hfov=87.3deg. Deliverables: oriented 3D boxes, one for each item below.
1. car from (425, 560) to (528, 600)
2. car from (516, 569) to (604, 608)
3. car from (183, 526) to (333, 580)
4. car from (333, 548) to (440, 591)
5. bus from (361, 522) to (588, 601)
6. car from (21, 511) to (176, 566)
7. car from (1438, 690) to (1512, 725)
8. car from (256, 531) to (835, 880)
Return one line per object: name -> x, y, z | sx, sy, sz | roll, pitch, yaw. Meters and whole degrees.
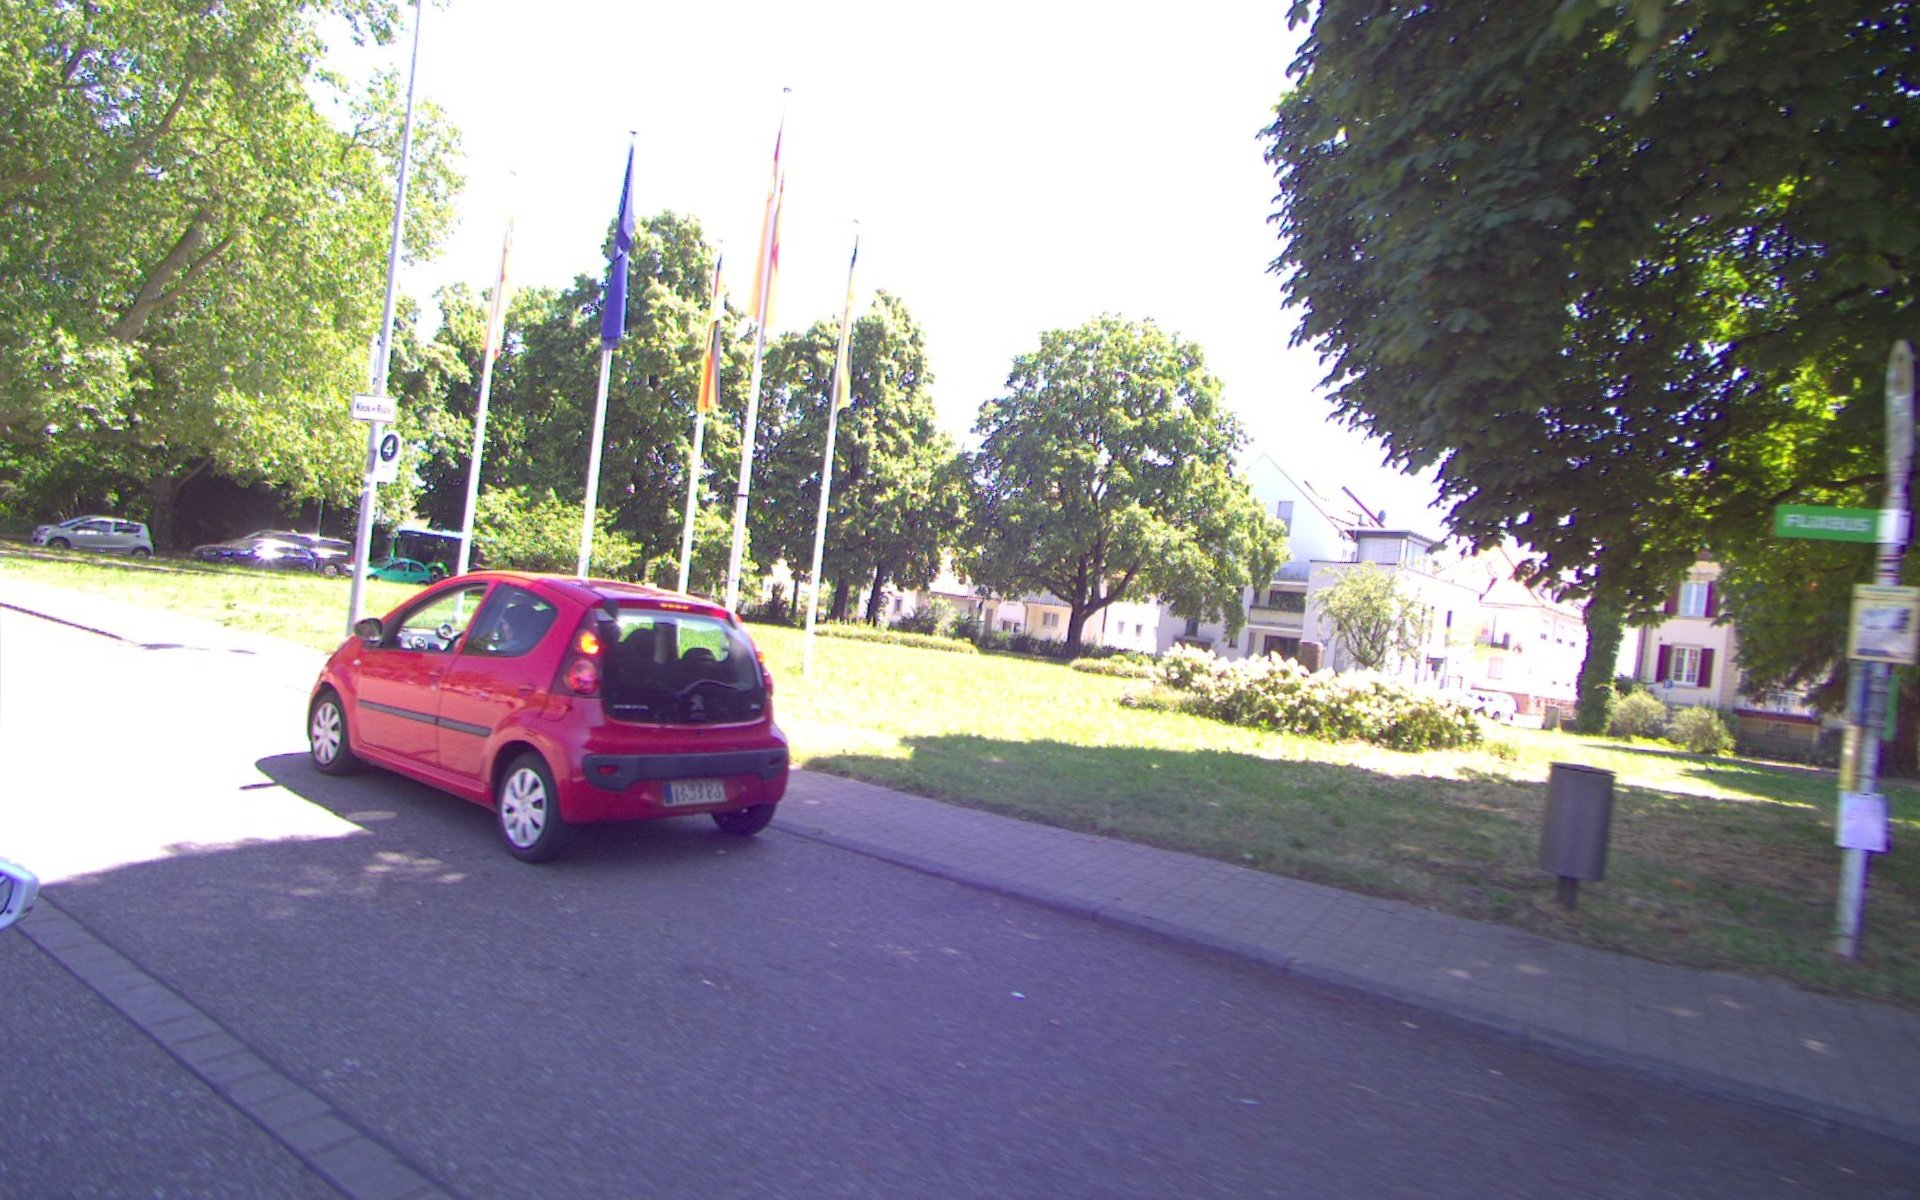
car -> -24.822, -1.000, 51.776 | 1.968, 1.432, 4.344 | 5, -3, 32
car -> -22.331, -0.626, 56.292 | 1.968, 1.627, 4.102 | 5, -3, 33
car -> -30.039, -1.970, 43.179 | 1.969, 1.627, 4.826 | 6, -1, 35
car -> -27.234, -1.441, 47.860 | 1.968, 1.470, 3.887 | 5, -3, 33
bus -> -27.471, -2.047, 58.014 | 2.231, 3.012, 12.397 | 5, -2, 32
car -> -33.199, -2.350, 38.877 | 1.968, 1.483, 4.109 | 6, -1, 34
car -> 27.456, 5.709, 53.591 | 3.659, 1.450, 1.457 | 7, -1, -25
car -> -2.793, 0.492, 6.506 | 3.649, 1.496, 1.719 | 6, -1, 36
